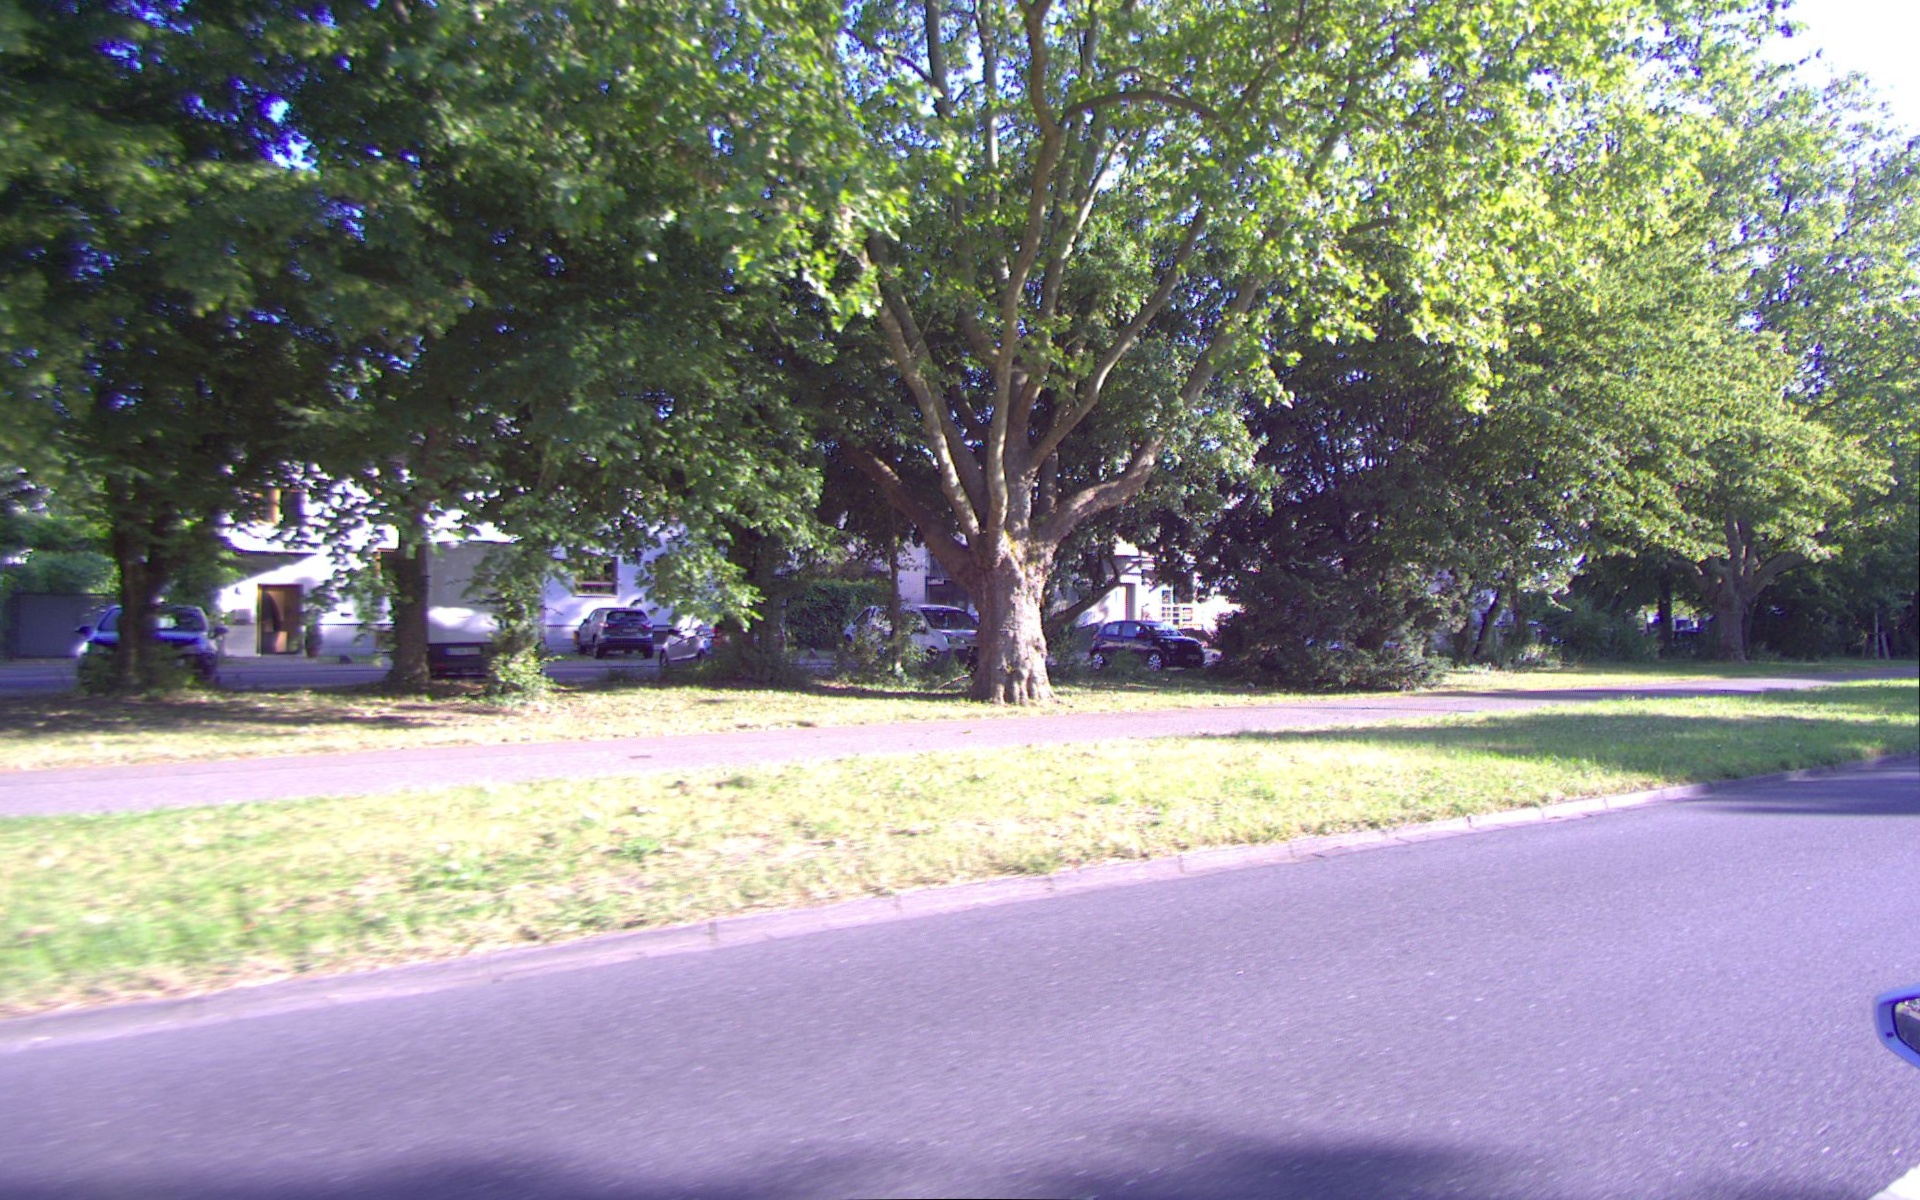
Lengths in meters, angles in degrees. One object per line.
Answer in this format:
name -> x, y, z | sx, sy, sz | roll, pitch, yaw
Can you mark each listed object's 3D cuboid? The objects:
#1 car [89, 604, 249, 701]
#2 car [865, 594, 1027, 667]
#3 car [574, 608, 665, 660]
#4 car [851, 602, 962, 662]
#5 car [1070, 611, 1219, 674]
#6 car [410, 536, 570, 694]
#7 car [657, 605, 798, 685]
car -> -12.766, 0.789, 16.400 | 1.674, 1.400, 3.461 | 1, -1, -33
car -> -0.431, 0.719, 24.362 | 1.935, 1.617, 4.095 | 2, -2, -36
car -> -11.141, 1.070, 32.682 | 1.904, 1.572, 3.964 | 1, -1, -33
car -> -2.095, 1.163, 37.993 | 1.982, 2.040, 4.511 | 2, 0, -37
car -> 5.169, 1.159, 28.560 | 1.894, 1.528, 3.961 | 2, 0, -35
car -> -9.023, 0.350, 18.992 | 2.162, 2.534, 5.404 | 1, -3, -31
car -> -4.999, 0.897, 21.256 | 1.794, 1.520, 3.706 | 1, -1, -32
